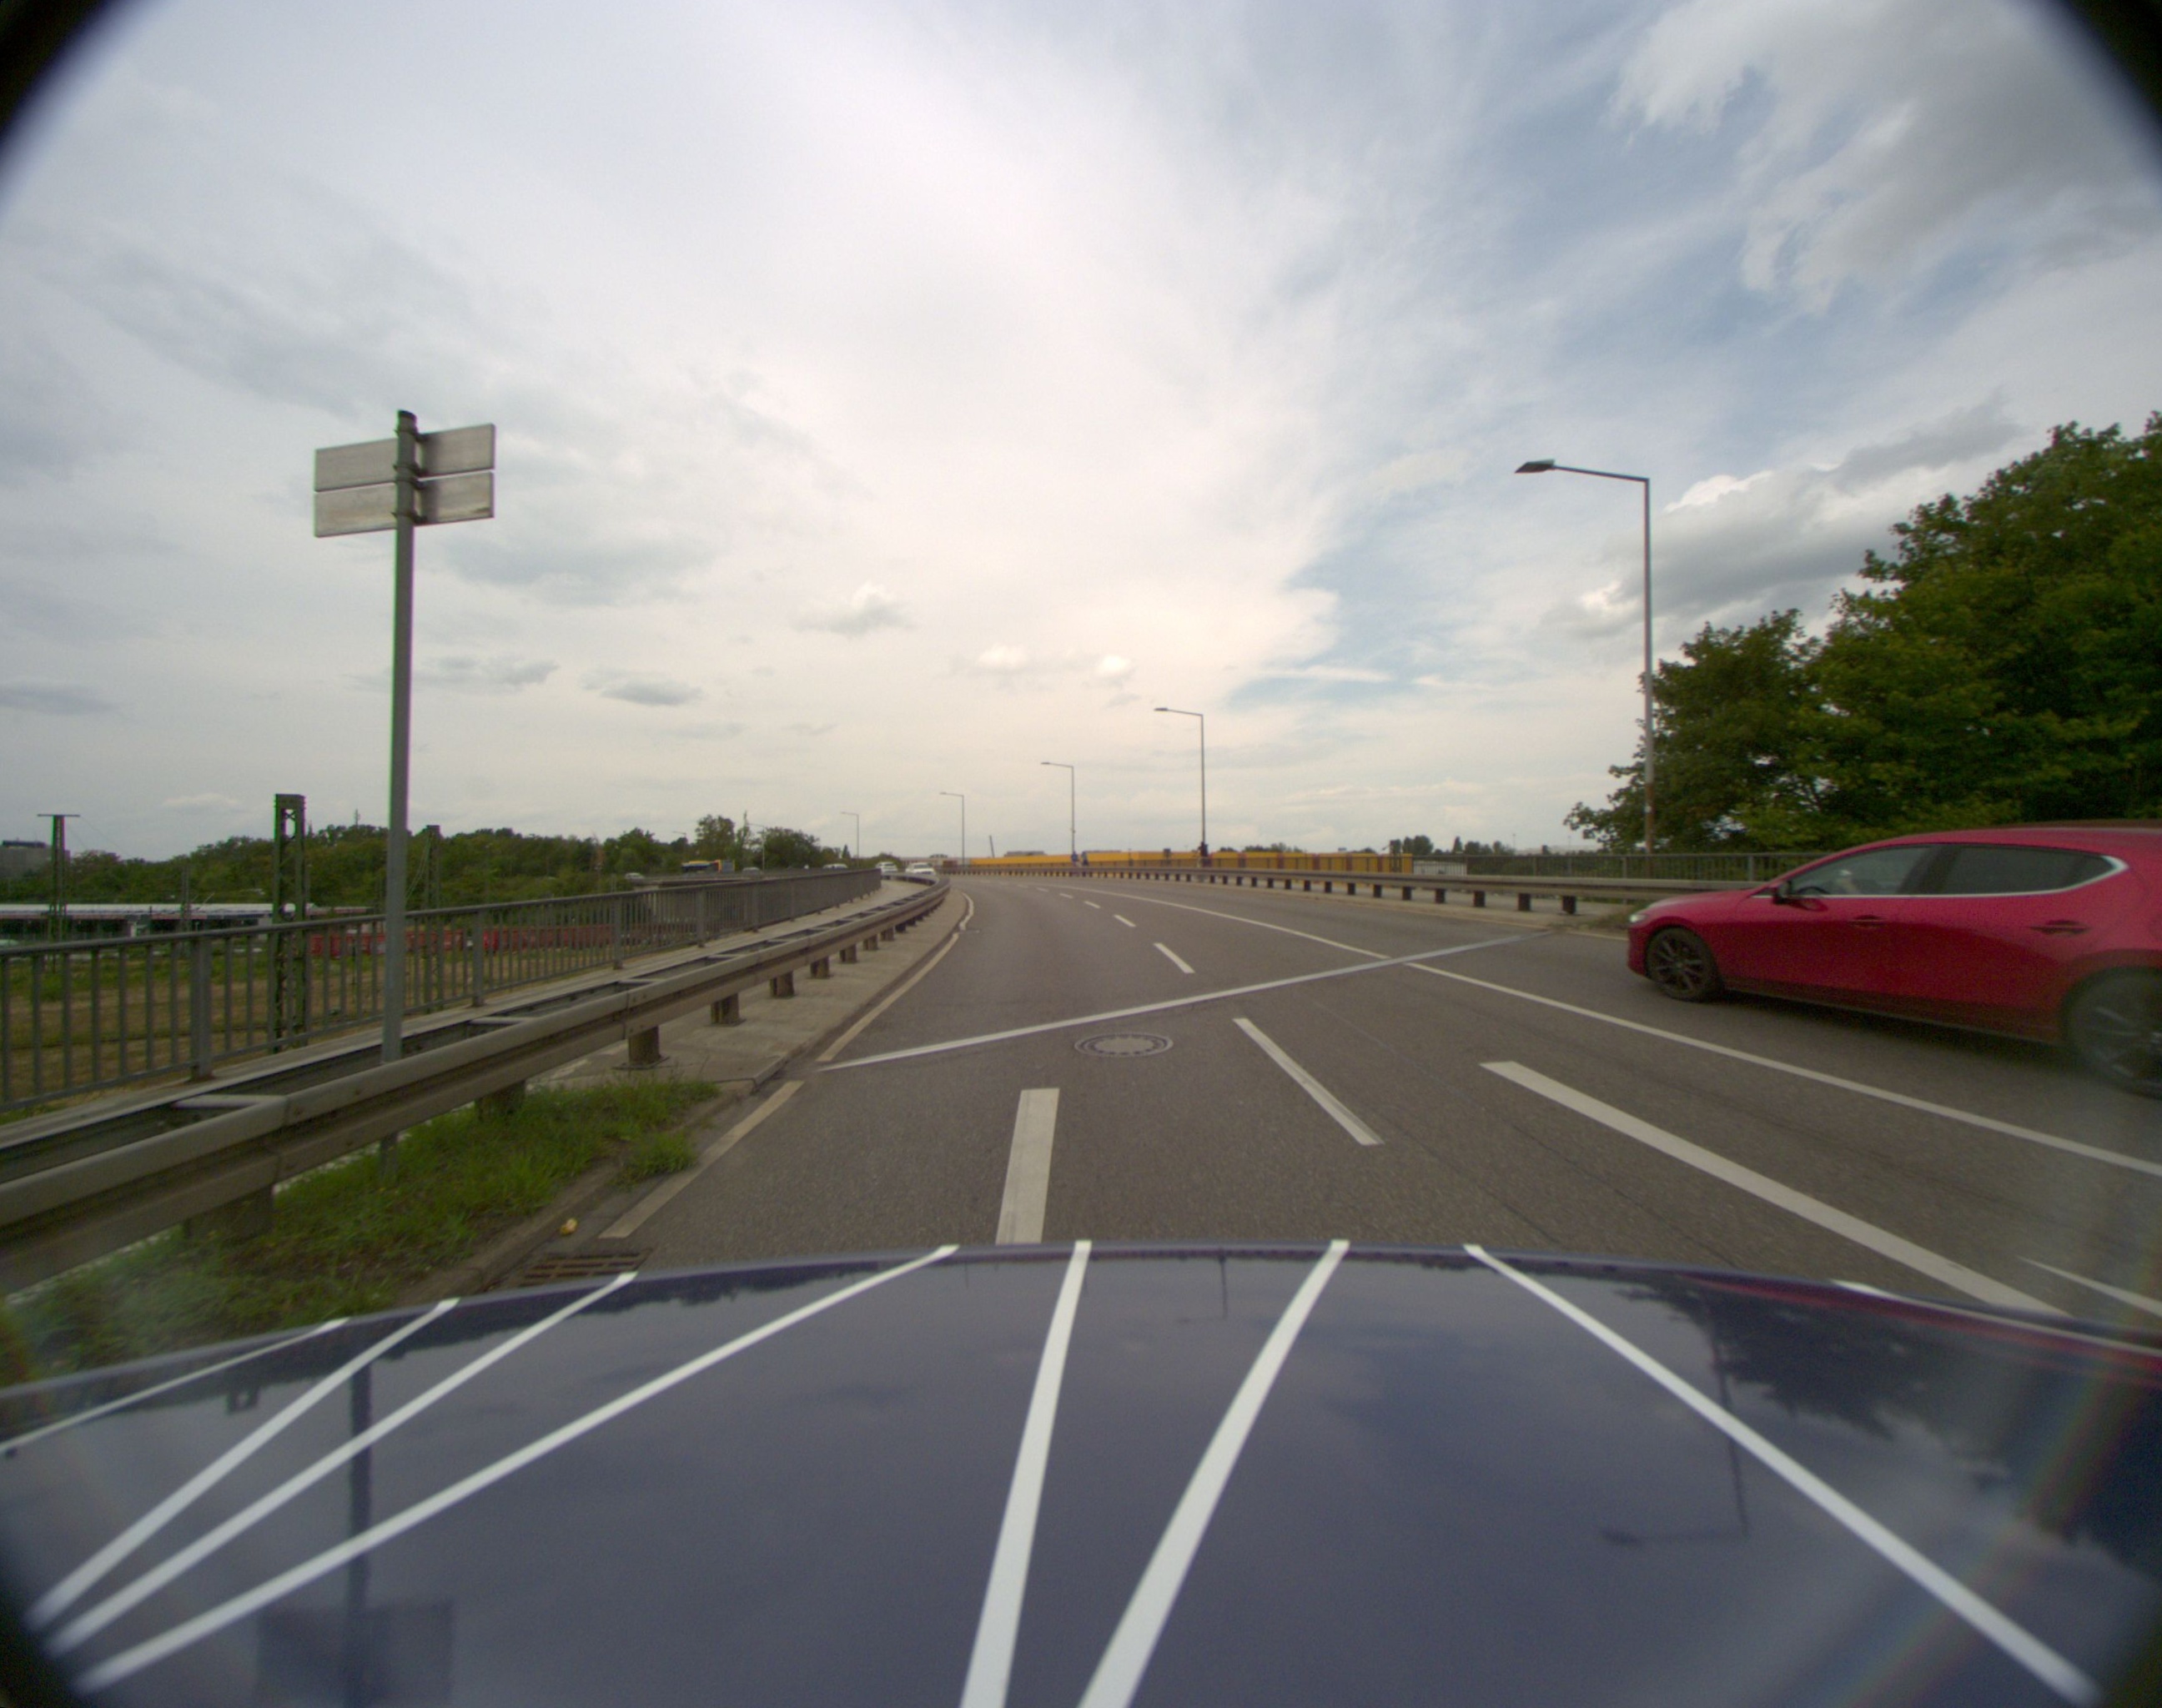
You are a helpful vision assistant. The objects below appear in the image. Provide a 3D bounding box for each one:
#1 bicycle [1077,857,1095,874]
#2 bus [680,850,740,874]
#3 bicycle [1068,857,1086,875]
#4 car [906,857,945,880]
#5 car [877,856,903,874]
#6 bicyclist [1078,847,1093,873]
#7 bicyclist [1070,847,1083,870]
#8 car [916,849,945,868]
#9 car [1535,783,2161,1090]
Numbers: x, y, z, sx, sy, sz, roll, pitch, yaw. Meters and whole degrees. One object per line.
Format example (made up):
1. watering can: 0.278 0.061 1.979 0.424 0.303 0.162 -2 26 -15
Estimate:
1. bicycle: 0.374 0.800 54.848 0.648 1.062 1.756 -2 5 -23
2. bus: -60.825 1.234 124.327 12.910 3.217 3.046 3 6 37
3. bicycle: -0.297 0.815 53.029 0.494 1.040 1.805 -3 6 -25
4. car: -13.068 1.167 63.698 1.942 1.449 3.873 0 6 -31
5. car: -21.918 1.245 86.948 1.949 1.585 4.760 -3 6 -25
6. bicyclist: 0.337 0.436 54.871 0.852 1.799 0.794 -3 6 -23
7. bicyclist: -0.325 0.305 53.205 0.613 1.532 0.755 -4 6 -26
8. car: -15.011 0.381 75.797 1.816 1.469 4.370 -3 6 -24
9. car: 5.890 0.277 5.808 1.801 1.464 4.631 -1 3 -4
